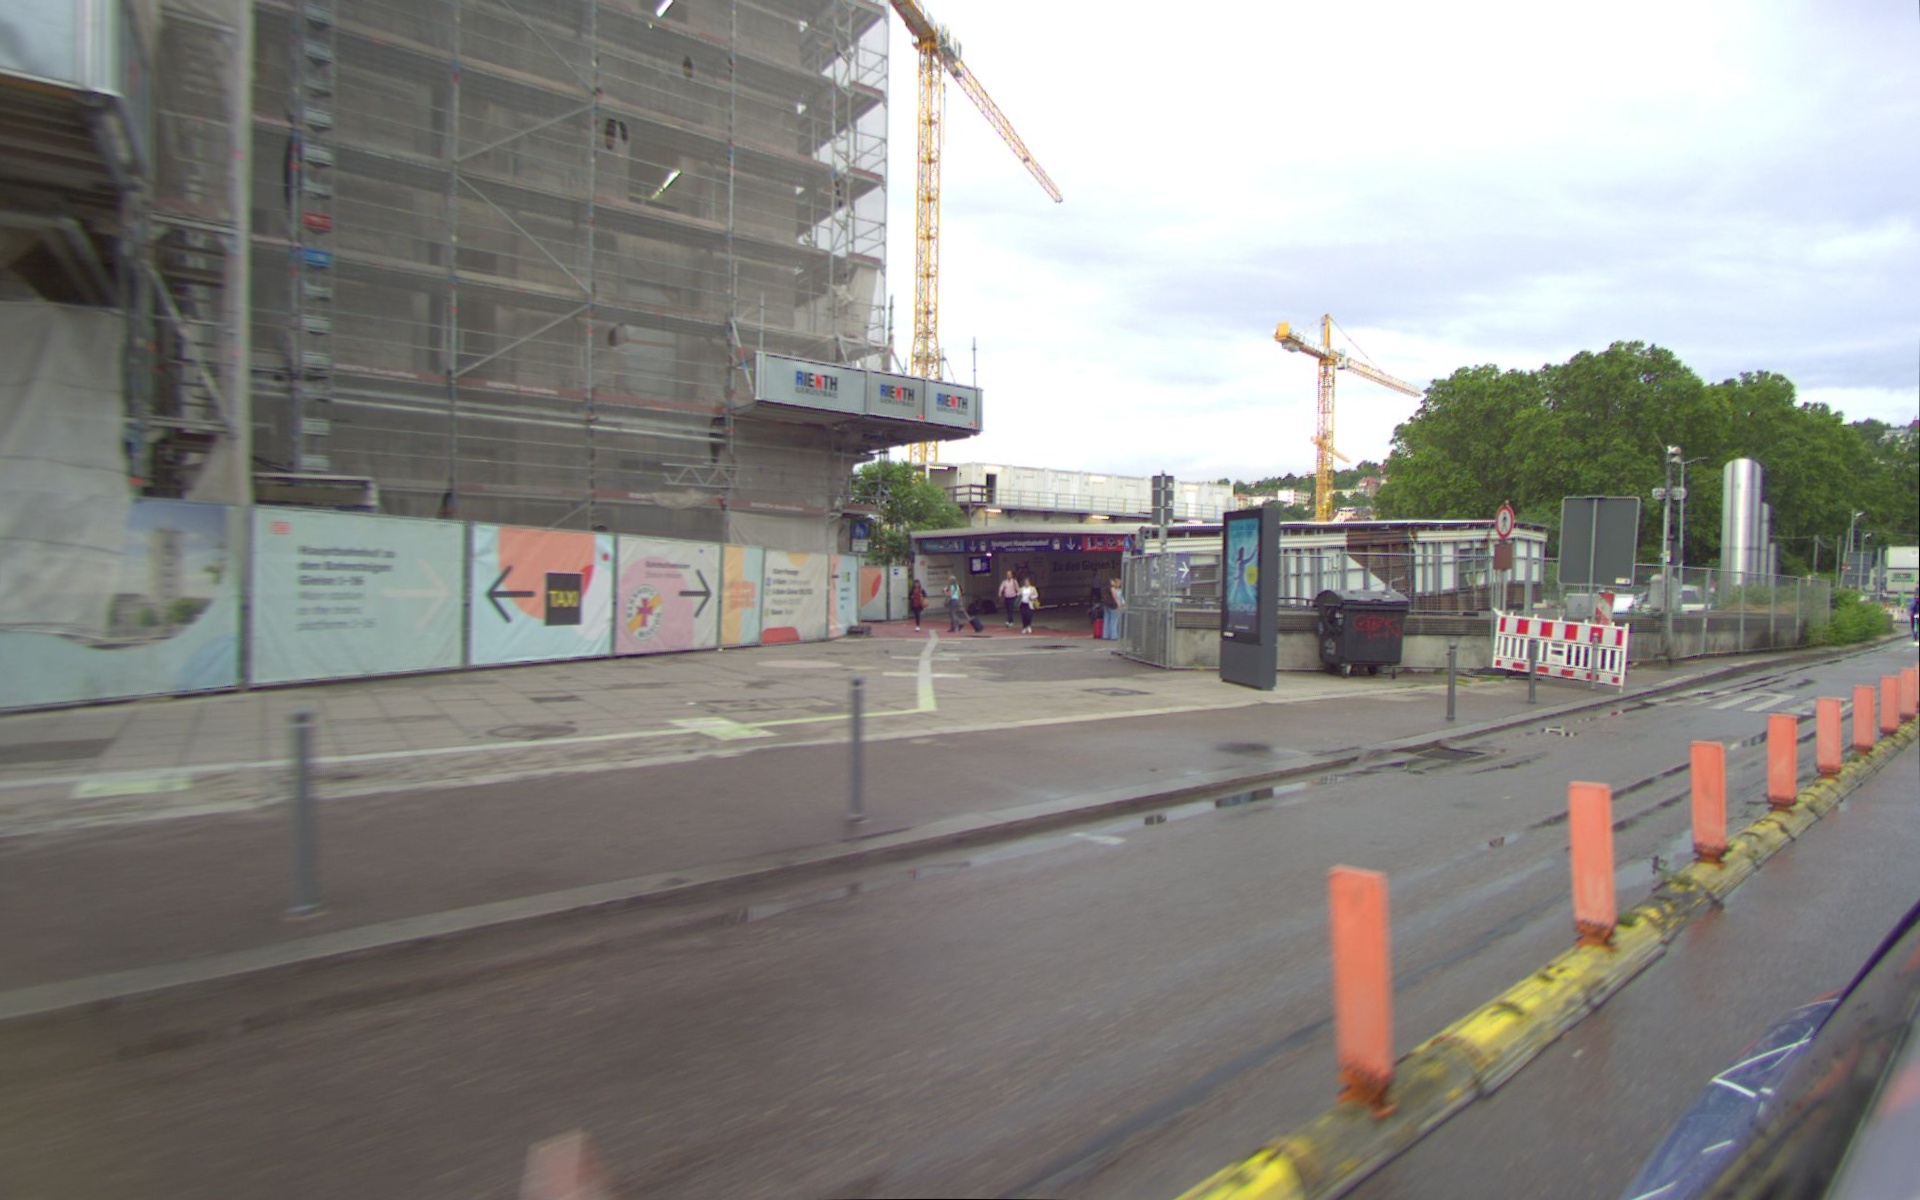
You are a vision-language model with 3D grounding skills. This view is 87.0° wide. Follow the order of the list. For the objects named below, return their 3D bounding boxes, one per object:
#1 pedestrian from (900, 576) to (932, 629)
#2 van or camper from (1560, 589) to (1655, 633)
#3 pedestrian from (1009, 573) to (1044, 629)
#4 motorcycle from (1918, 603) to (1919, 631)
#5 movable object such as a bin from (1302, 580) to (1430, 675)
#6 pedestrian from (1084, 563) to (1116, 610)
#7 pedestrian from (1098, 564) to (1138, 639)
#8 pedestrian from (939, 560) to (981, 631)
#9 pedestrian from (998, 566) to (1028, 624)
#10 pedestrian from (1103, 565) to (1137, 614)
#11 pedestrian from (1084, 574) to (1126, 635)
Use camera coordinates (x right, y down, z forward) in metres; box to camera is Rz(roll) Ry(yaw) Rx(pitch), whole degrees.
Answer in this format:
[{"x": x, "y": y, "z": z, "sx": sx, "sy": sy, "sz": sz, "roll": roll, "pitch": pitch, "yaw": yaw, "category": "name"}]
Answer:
[{"x": -1.302, "y": 0.068, "z": 30.204, "sx": 0.630, "sy": 1.526, "sz": 0.702, "roll": 1, "pitch": 1, "yaw": -38, "category": "pedestrian"}, {"x": 39.467, "y": 0.610, "z": 61.893, "sx": 2.345, "sy": 2.432, "sz": 6.053, "roll": 3, "pitch": 1, "yaw": 6, "category": "van or camper"}, {"x": 2.031, "y": 0.020, "z": 30.920, "sx": 0.901, "sy": 1.666, "sz": 0.699, "roll": 2, "pitch": 1, "yaw": 15, "category": "pedestrian"}, {"x": 43.262, "y": 0.774, "z": 45.074, "sx": 2.124, "sy": 1.244, "sz": 0.729, "roll": 2, "pitch": 1, "yaw": -44, "category": "motorcycle"}, {"x": 6.838, "y": 0.434, "z": 17.131, "sx": 1.502, "sy": 1.510, "sz": 1.305, "roll": 1, "pitch": 1, "yaw": -8, "category": "movable object such as a bin"}, {"x": 5.488, "y": -0.534, "z": 39.710, "sx": 0.756, "sy": 1.816, "sz": 0.951, "roll": 1, "pitch": 1, "yaw": -40, "category": "pedestrian"}, {"x": 4.368, "y": 0.045, "z": 27.973, "sx": 0.753, "sy": 2.039, "sz": 0.804, "roll": 0, "pitch": -1, "yaw": -44, "category": "pedestrian"}, {"x": 0.005, "y": -0.139, "z": 29.931, "sx": 0.916, "sy": 2.039, "sz": 0.765, "roll": 1, "pitch": 1, "yaw": -40, "category": "pedestrian"}, {"x": 1.767, "y": -0.169, "z": 33.930, "sx": 0.849, "sy": 1.899, "sz": 0.639, "roll": 2, "pitch": 1, "yaw": 15, "category": "pedestrian"}, {"x": 5.994, "y": -0.406, "z": 37.985, "sx": 0.756, "sy": 1.816, "sz": 0.951, "roll": 1, "pitch": 1, "yaw": -40, "category": "pedestrian"}, {"x": 3.887, "y": 0.111, "z": 27.189, "sx": 0.698, "sy": 1.614, "sz": 0.855, "roll": 0, "pitch": -1, "yaw": -44, "category": "pedestrian"}]
